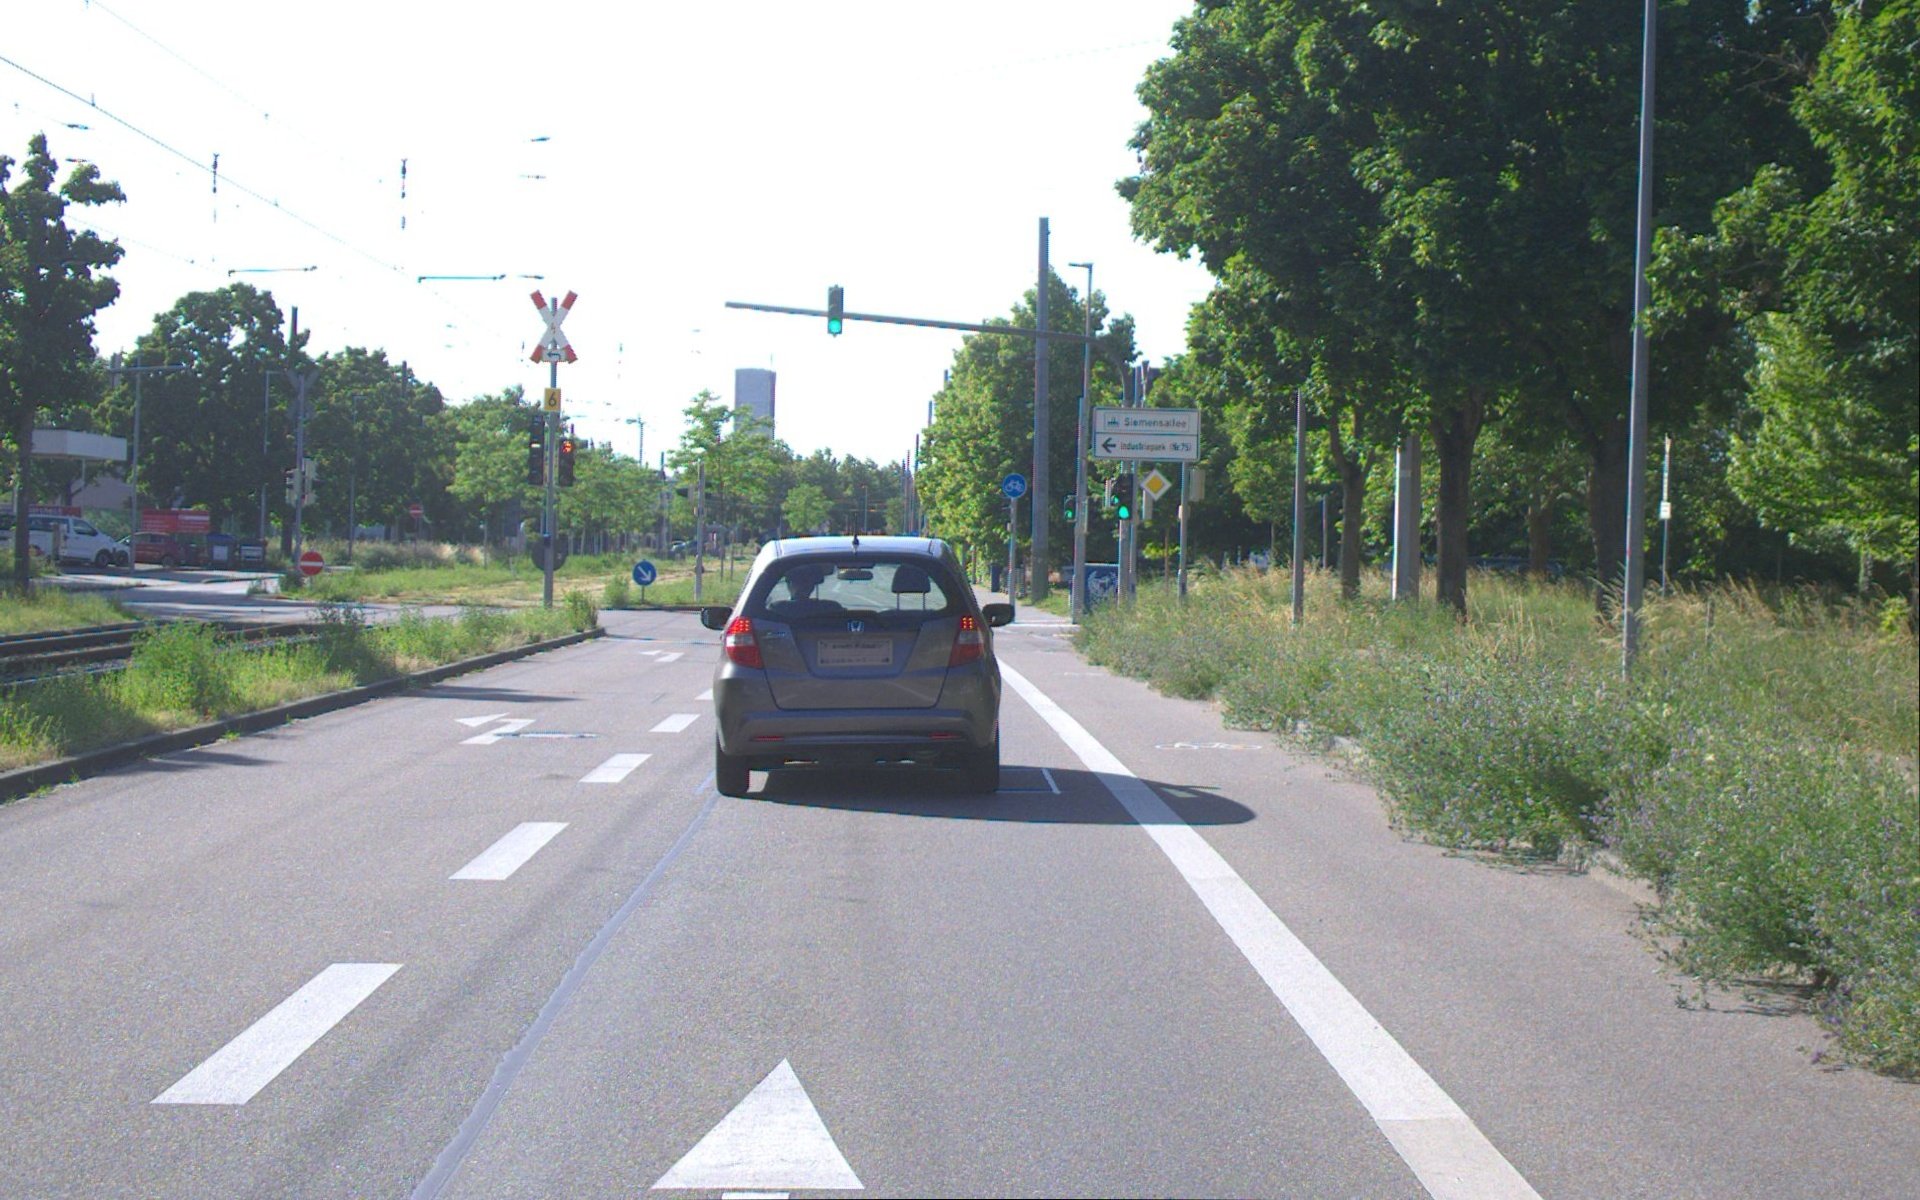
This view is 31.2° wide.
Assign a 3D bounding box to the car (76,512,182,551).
[{"bbox_3d":[-35.212,-2.908,145.727,4.070,1.563,1.792,1,1,-4],"label":"car"}]

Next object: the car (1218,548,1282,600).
[{"bbox_3d":[11.751,-1.076,139.405,1.872,1.960,5.167,2,1,-2],"label":"car"}]

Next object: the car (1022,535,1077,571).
[{"bbox_3d":[3.605,-1.917,139.357,1.773,1.382,3.871,1,1,-5],"label":"car"}]

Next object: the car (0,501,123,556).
[{"bbox_3d":[-33.998,-2.666,129.119,1.859,1.967,4.775,2,2,39],"label":"car"}]

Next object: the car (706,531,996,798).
[{"bbox_3d":[-0.623,0.338,21.200,1.624,1.494,3.457,1,1,0],"label":"car"}]
